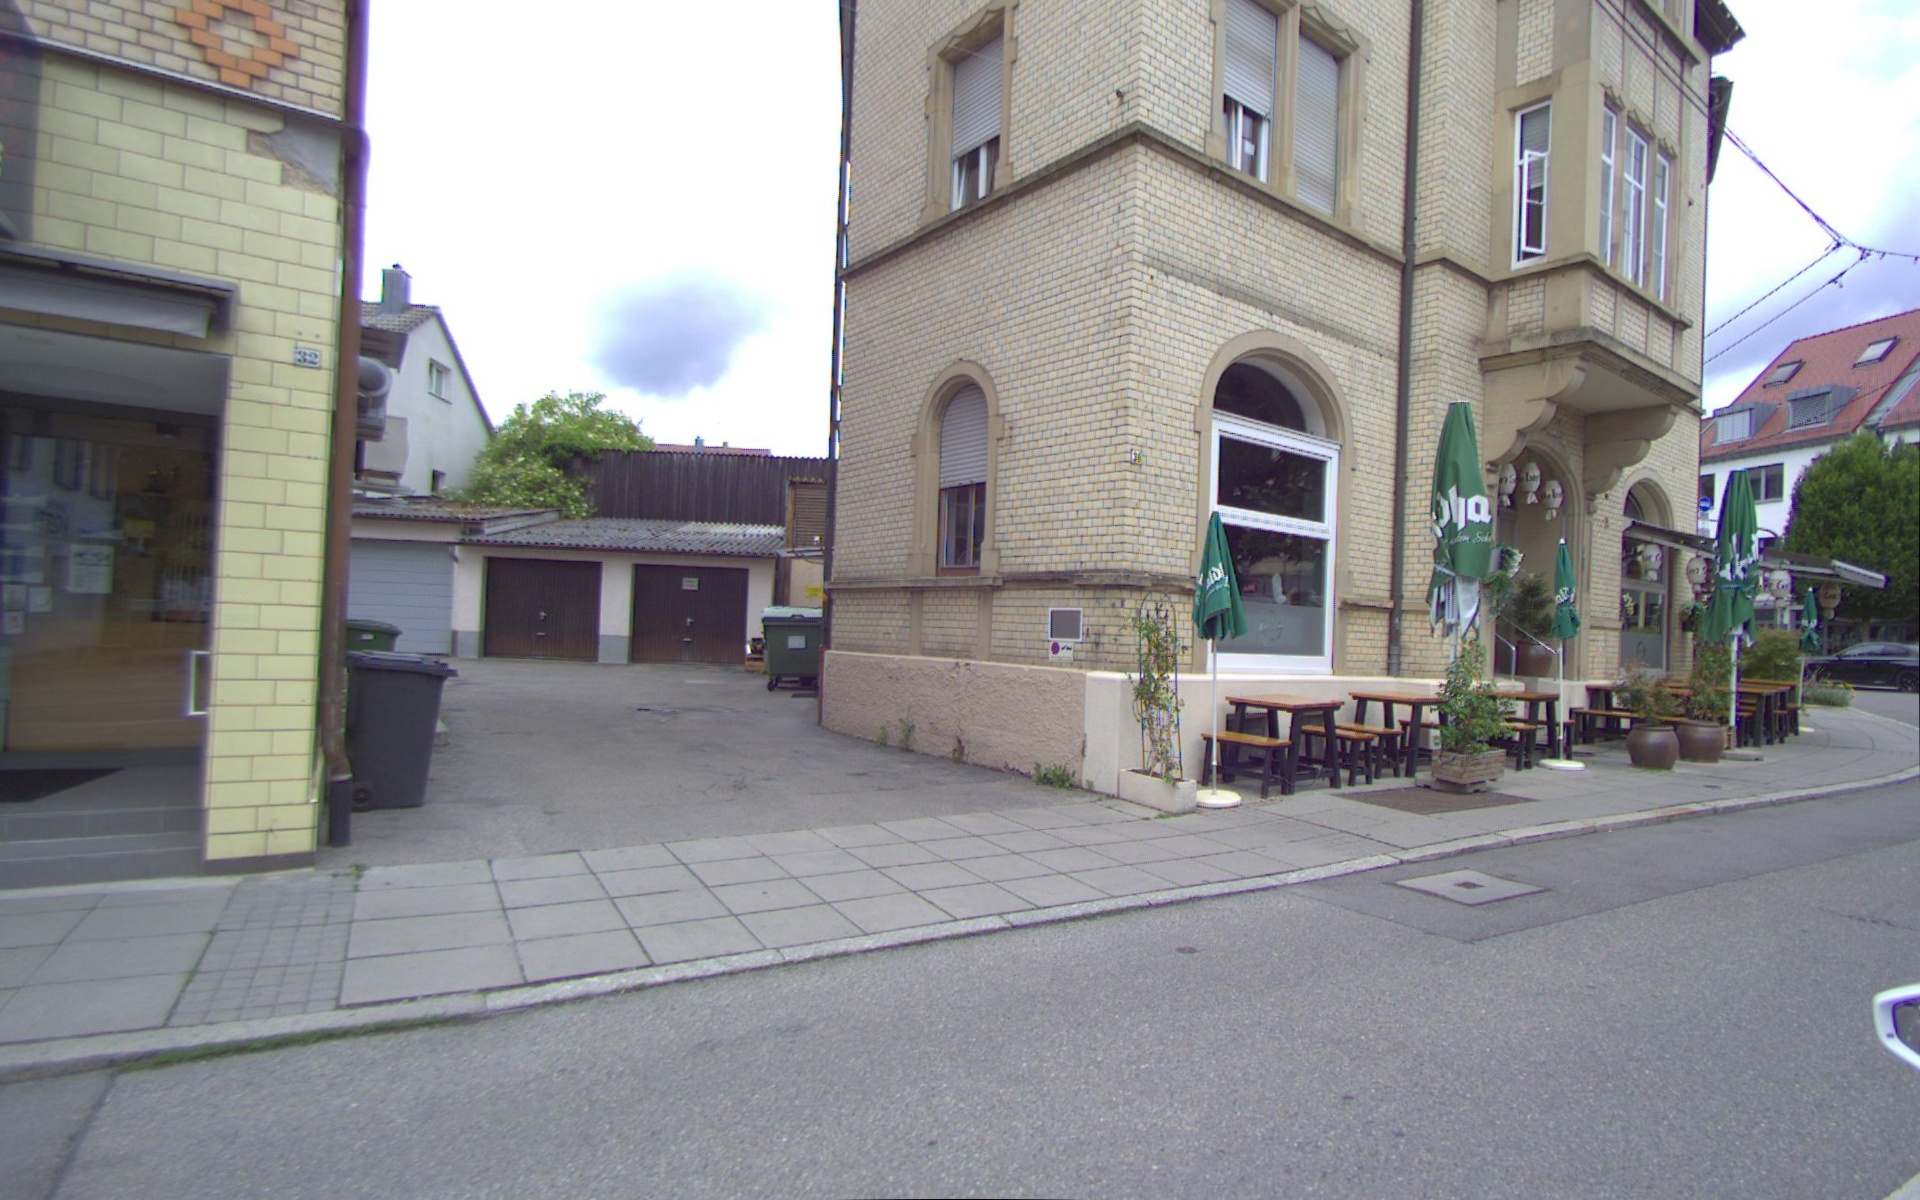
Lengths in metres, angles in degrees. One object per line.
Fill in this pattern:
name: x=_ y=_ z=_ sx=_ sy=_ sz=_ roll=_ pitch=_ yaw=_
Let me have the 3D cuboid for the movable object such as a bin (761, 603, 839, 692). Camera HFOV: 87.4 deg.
movable object such as a bin: x=-2.921 y=0.846 z=18.589 sx=1.269 sy=1.523 sz=1.802 roll=1 pitch=1 yaw=-5

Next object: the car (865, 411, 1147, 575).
car: x=0.751 y=-1.492 z=15.531 sx=3.958 sy=2.040 sz=1.982 roll=1 pitch=-1 yaw=-34

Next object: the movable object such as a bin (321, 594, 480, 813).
movable object such as a bin: x=-3.965 y=0.704 z=7.128 sx=0.814 sy=1.396 sz=0.937 roll=6 pitch=-1 yaw=-31

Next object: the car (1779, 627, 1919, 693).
car: x=26.586 y=1.693 z=28.841 sx=2.010 sy=1.697 sz=4.355 roll=2 pitch=0 yaw=-18

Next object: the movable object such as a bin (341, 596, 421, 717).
movable object such as a bin: x=-7.049 y=0.665 z=12.230 sx=0.785 sy=1.397 sz=0.937 roll=2 pitch=-1 yaw=-31
